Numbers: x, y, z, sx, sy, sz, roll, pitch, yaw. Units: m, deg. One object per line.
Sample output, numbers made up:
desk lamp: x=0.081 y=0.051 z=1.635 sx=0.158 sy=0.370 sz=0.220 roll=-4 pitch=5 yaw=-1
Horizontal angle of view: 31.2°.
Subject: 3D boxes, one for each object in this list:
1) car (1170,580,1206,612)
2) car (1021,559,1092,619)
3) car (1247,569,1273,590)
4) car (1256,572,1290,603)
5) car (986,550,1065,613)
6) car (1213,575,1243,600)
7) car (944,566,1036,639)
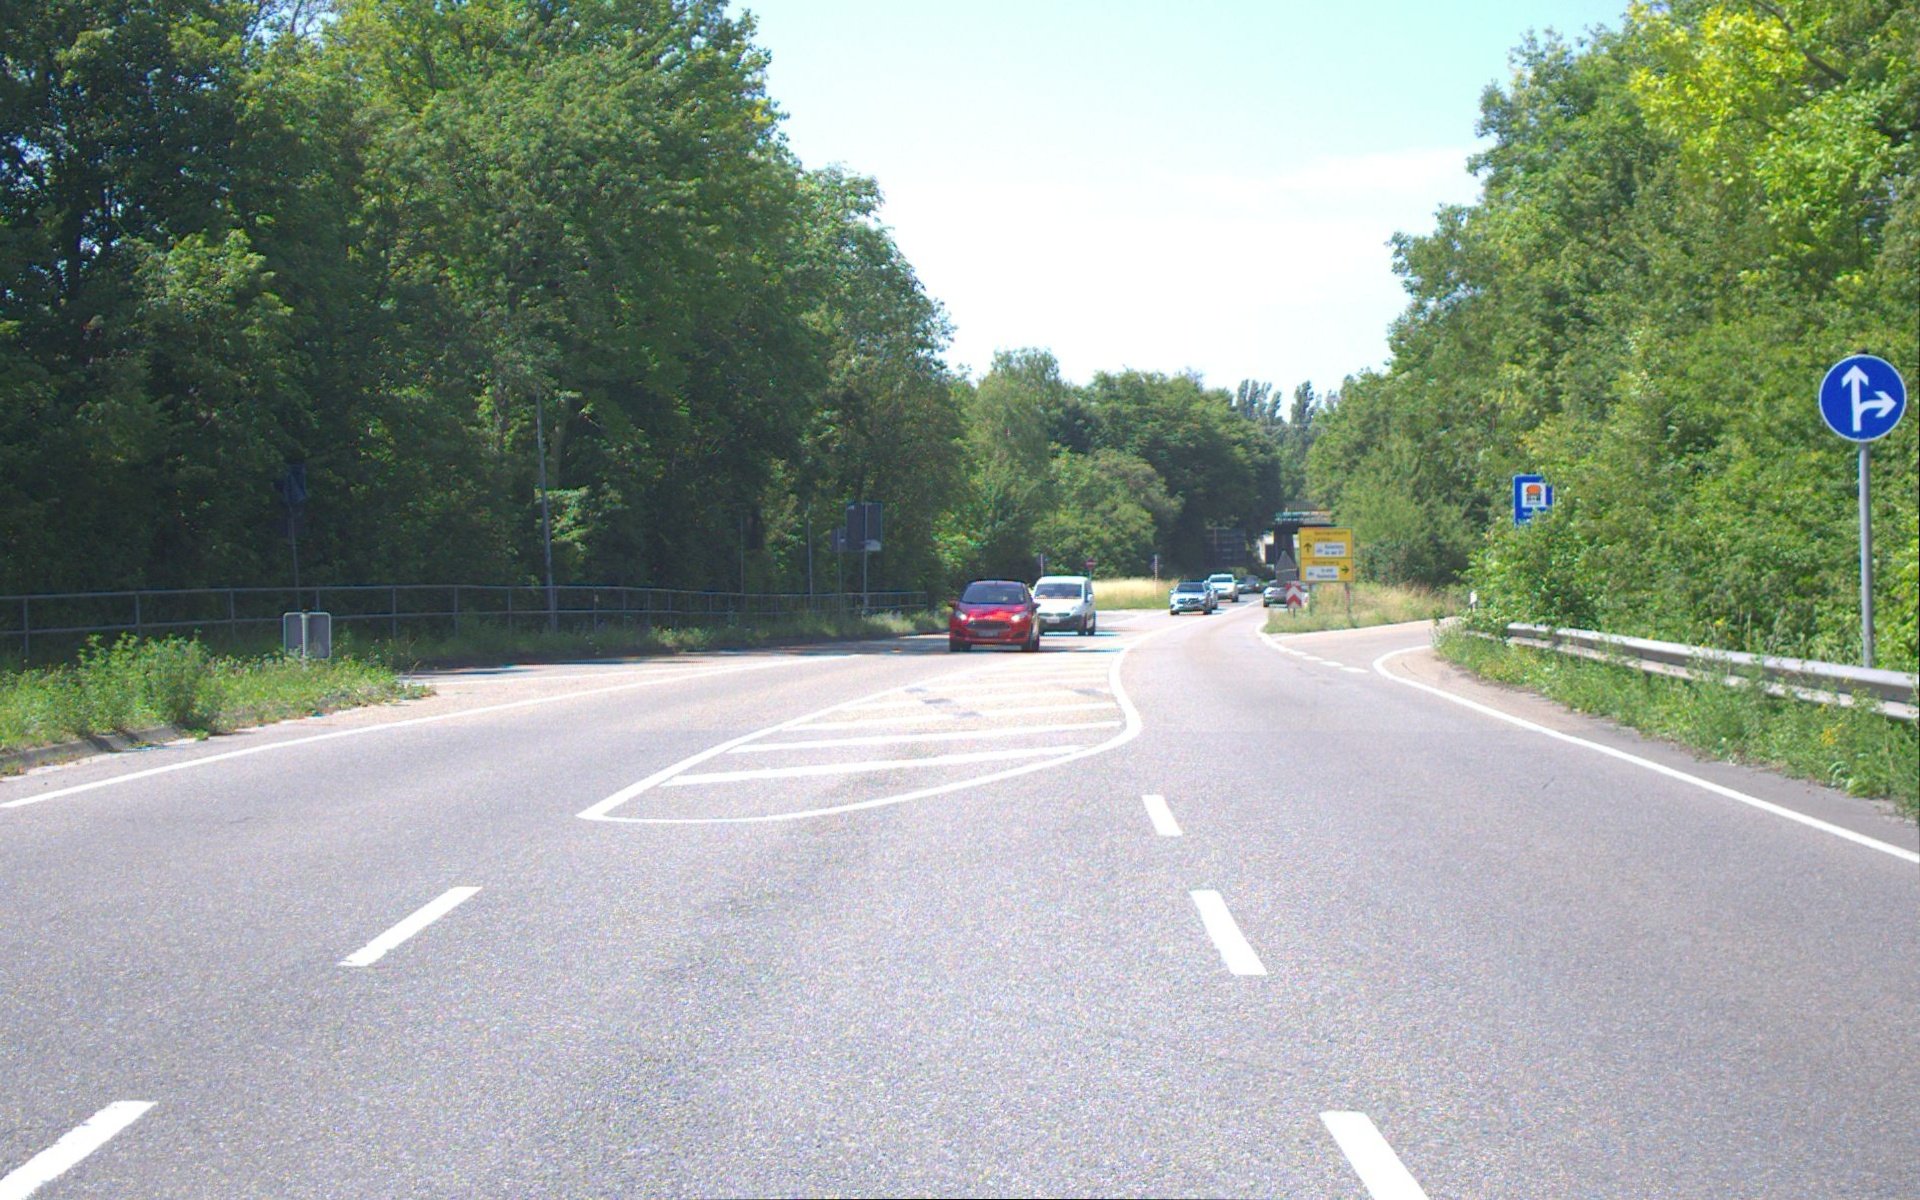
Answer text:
car: x=11.380 y=-0.221 z=171.356 sx=1.677 sy=1.522 sz=3.999 roll=0 pitch=1 yaw=5
car: x=2.947 y=-0.354 z=103.811 sx=1.994 sy=1.724 sz=4.274 roll=0 pitch=1 yaw=3
car: x=21.994 y=-1.516 z=251.742 sx=1.720 sy=1.504 sz=3.708 roll=0 pitch=1 yaw=7
car: x=17.901 y=-0.715 z=196.509 sx=1.844 sy=1.679 sz=3.999 roll=0 pitch=1 yaw=7
car: x=3.381 y=-0.967 z=178.370 sx=1.993 sy=3.215 sz=4.809 roll=-1 pitch=1 yaw=-28
car: x=16.496 y=-0.788 z=211.771 sx=1.720 sy=1.523 sz=3.709 roll=0 pitch=1 yaw=6
car: x=0.600 y=0.036 z=71.492 sx=1.810 sy=1.453 sz=3.758 roll=0 pitch=1 yaw=-1
